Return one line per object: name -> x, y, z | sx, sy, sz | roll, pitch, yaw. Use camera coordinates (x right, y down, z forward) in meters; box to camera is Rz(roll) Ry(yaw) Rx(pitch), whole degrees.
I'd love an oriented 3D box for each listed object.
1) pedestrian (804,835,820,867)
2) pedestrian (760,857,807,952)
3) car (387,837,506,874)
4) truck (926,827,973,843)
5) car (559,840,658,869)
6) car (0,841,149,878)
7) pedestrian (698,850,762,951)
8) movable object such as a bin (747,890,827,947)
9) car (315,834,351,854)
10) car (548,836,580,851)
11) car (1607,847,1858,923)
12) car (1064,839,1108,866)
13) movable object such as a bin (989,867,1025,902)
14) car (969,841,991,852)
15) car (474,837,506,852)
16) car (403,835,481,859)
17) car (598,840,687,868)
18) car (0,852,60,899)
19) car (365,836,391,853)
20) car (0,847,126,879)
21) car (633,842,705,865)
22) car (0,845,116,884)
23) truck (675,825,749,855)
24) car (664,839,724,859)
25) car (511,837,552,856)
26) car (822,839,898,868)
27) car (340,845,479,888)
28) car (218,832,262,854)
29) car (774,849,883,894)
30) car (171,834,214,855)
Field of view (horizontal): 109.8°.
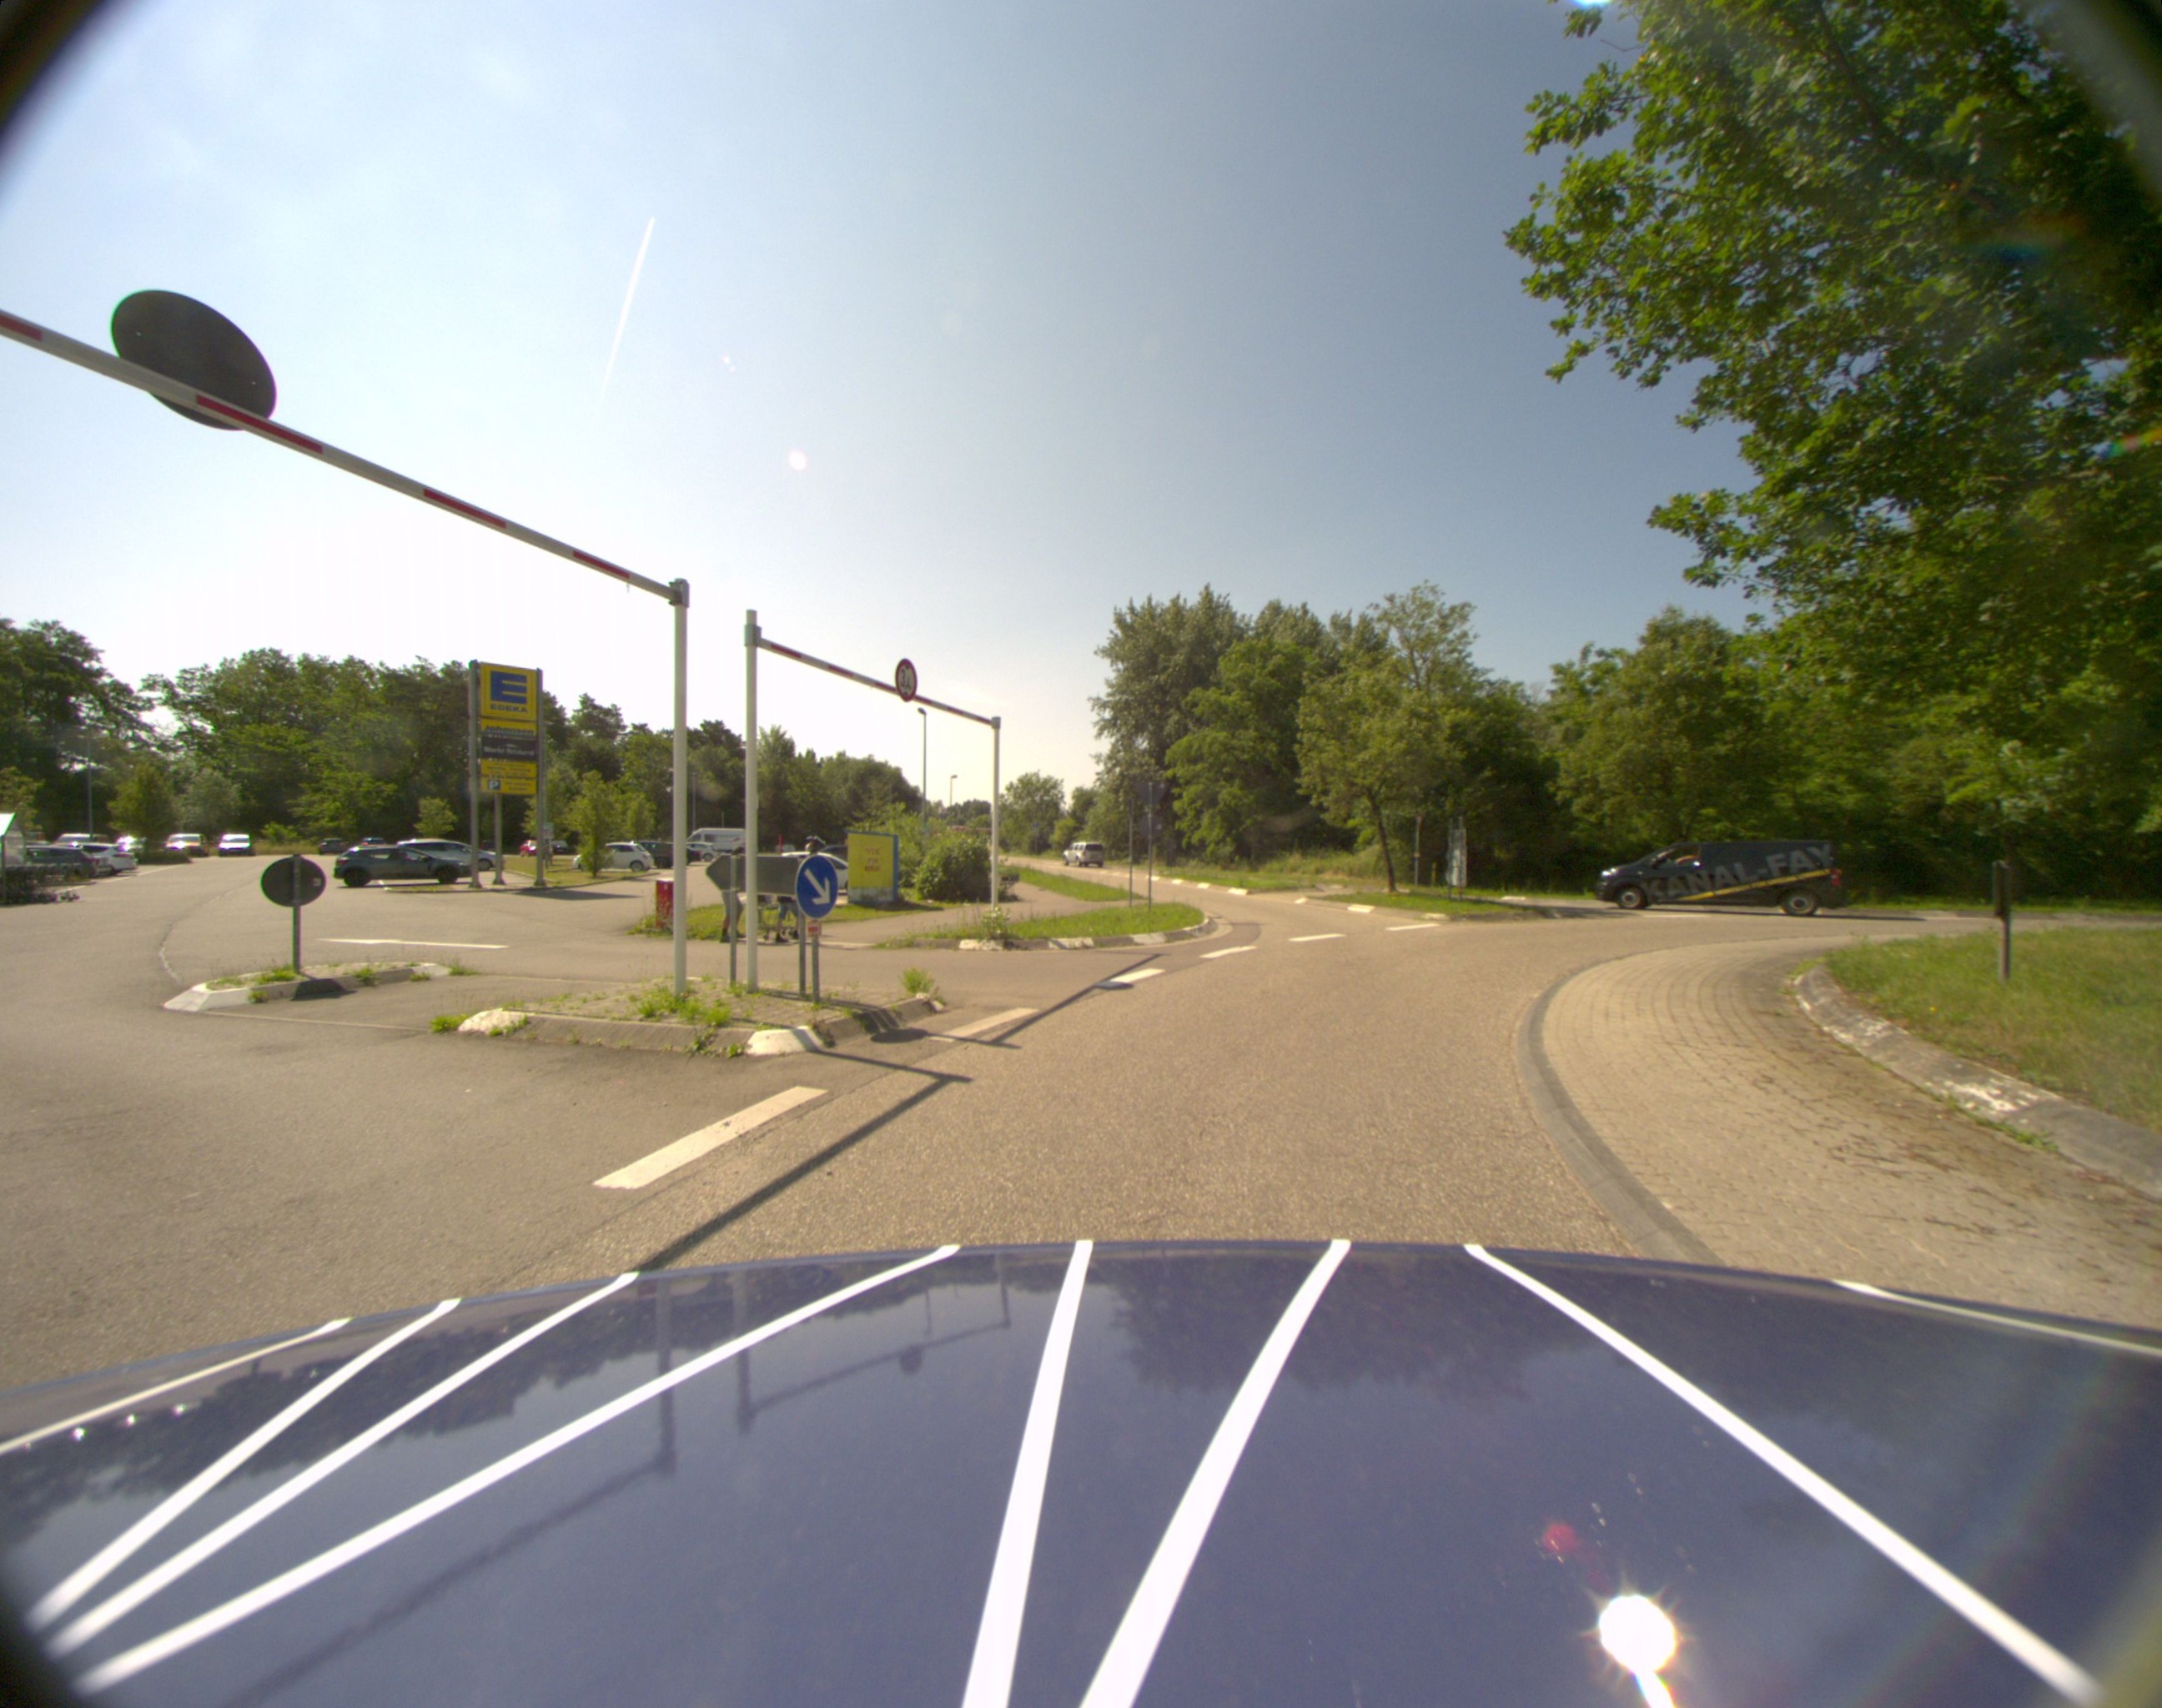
pedestrian -> -15.212, -0.178, 42.951 | 0.822, 1.787, 0.865 | 0, 2, -17
pedestrian -> -5.399, 0.888, 13.800 | 0.597, 1.639, 0.702 | -1, 2, -38
car -> -33.041, 0.021, 39.633 | 4.568, 1.693, 1.994 | -4, 4, -43
truck -> -30.548, -4.392, 176.229 | 10.350, 3.375, 3.877 | 0, 2, -19
car -> -24.224, 0.020, 39.065 | 4.003, 1.434, 1.648 | 0, 2, -17
car -> -47.789, 0.217, 36.103 | 4.007, 1.652, 1.994 | -1, 2, -38
pedestrian -> -6.484, 0.819, 14.033 | 0.844, 1.775, 0.878 | -2, 2, -41
movable object such as a bin -> -5.691, 1.220, 14.709 | 1.206, 0.949, 0.878 | -1, 2, -40
car -> -64.940, -0.899, 65.994 | 2.076, 1.701, 3.988 | -1, 2, -43
car -> -52.892, -1.068, 77.690 | 2.076, 1.477, 3.988 | -1, 1, -43
car -> 16.567, 0.681, 19.632 | 4.704, 1.705, 2.106 | 1, 2, 40
car -> 0.327, -0.143, 54.798 | 1.901, 1.805, 4.588 | 0, 1, -17
movable object such as a bin -> -2.530, 1.030, 26.144 | 0.869, 1.114, 1.456 | 0, 2, 11
car -> -12.793, -0.961, 96.054 | 1.840, 1.379, 4.416 | 1, 1, -19
car -> -57.497, -0.938, 73.871 | 2.076, 1.477, 3.988 | -1, 1, -43
car -> -43.576, -0.520, 51.913 | 4.008, 1.576, 1.965 | -1, 2, -39
car -> -25.488, -0.016, 44.346 | 4.170, 1.565, 1.996 | -1, 2, -20
car -> -35.377, 0.701, 23.619 | 4.008, 1.412, 1.976 | -2, 2, -44
car -> -62.968, -0.882, 68.051 | 1.666, 1.477, 4.359 | -1, 2, -43
car -> -46.462, 0.369, 34.150 | 4.008, 1.346, 1.994 | -1, 2, -38
car -> -26.761, -0.063, 49.513 | 4.005, 1.419, 1.745 | 0, 2, -24
car -> -42.158, 0.397, 30.478 | 1.962, 1.477, 4.008 | 1, 2, 45
truck -> -32.597, -1.248, 67.320 | 5.622, 2.591, 2.199 | 0, 2, -18
car -> -29.115, -0.398, 57.258 | 3.980, 1.445, 1.900 | 0, 2, -27
car -> -46.836, -0.664, 64.745 | 4.480, 1.457, 2.004 | 2, 2, 43
car -> -12.718, -0.031, 43.749 | 4.136, 1.618, 1.749 | 0, 1, -18
car -> -26.566, 0.431, 30.228 | 4.008, 1.579, 1.656 | -1, 2, -40
car -> -68.611, -0.887, 62.055 | 2.076, 1.701, 3.988 | -1, 2, -43
car -> -9.328, 0.639, 28.327 | 3.606, 1.553, 1.812 | 1, 1, -10
car -> -70.169, -0.753, 60.056 | 1.800, 1.587, 4.247 | -1, 2, -44
